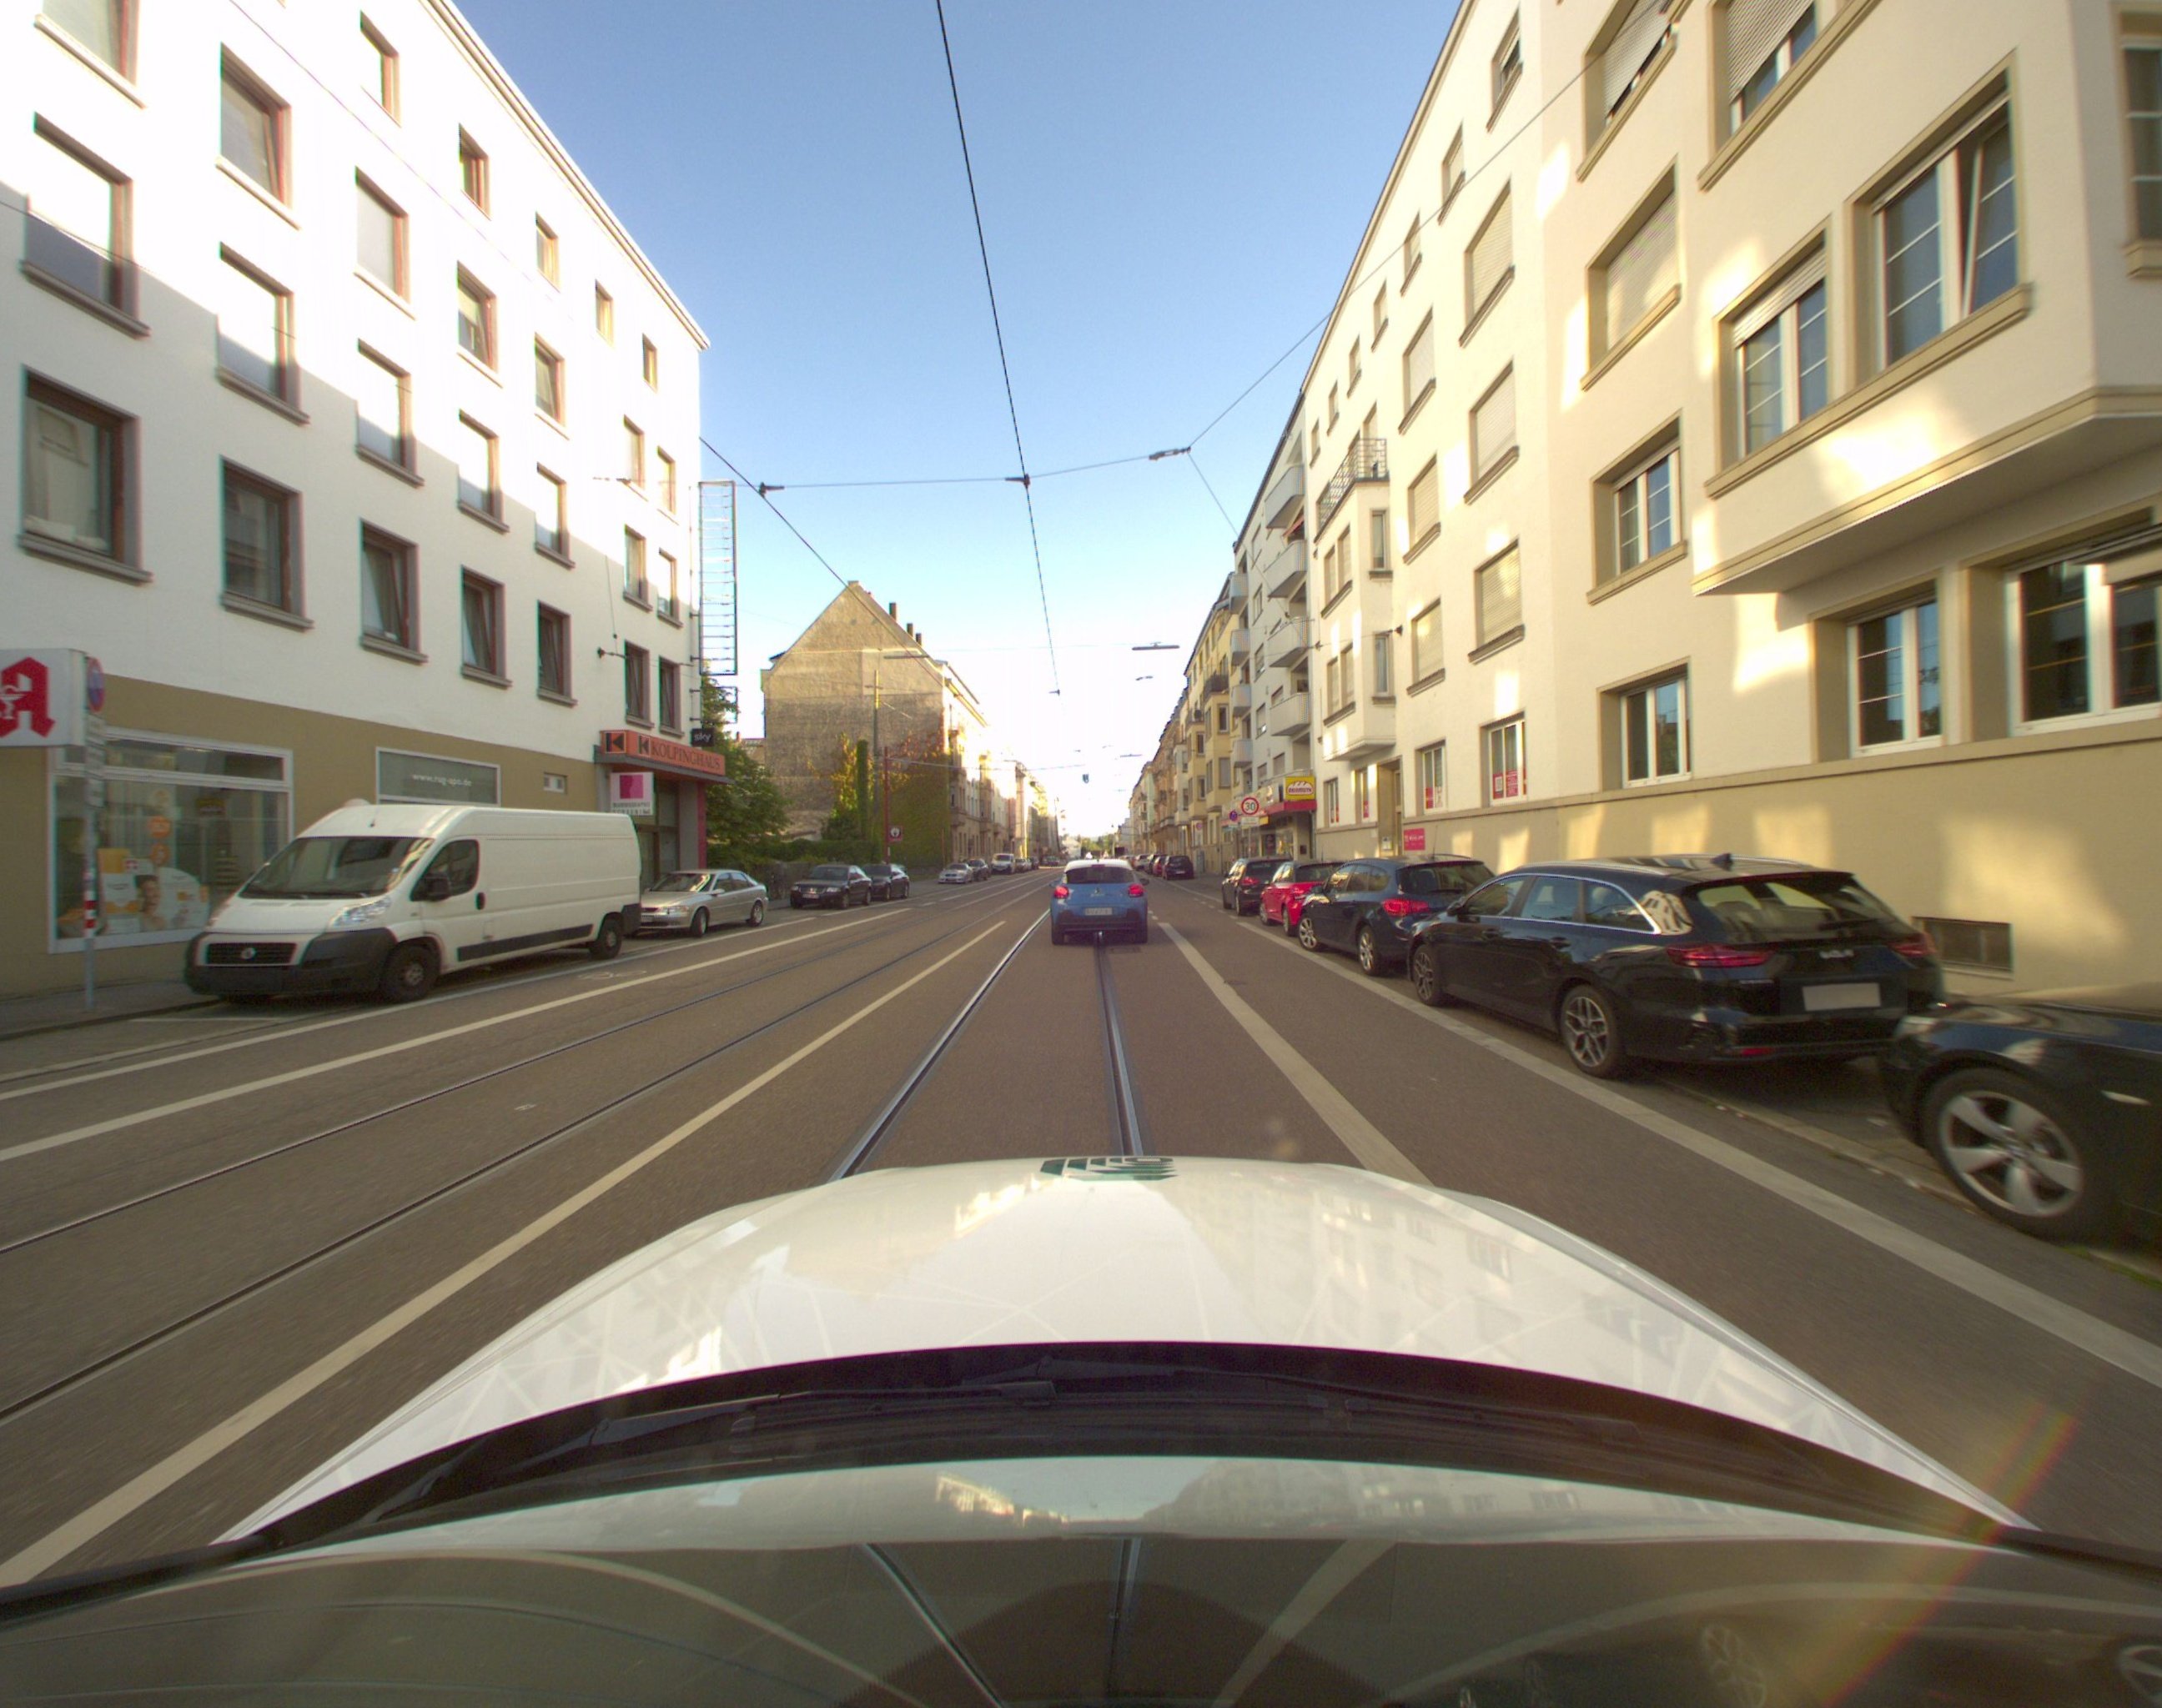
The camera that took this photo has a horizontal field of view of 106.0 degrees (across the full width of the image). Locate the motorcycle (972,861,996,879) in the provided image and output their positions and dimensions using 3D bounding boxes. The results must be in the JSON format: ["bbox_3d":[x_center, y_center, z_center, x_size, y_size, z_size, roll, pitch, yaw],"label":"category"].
[{"bbox_3d":[-7.682,1.247,64.510,0.875,1.351,1.970,-1,-1,34],"label":"motorcycle"}]

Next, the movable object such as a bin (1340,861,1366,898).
[{"bbox_3d":[7.776,0.728,23.304,0.556,1.057,0.554,-1,-1,0],"label":"movable object such as a bin"}]

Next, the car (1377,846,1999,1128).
[{"bbox_3d":[4.336,0.785,6.962,1.852,1.507,4.504,-3,-1,-1],"label":"car"}]

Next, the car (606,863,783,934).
[{"bbox_3d":[-8.745,0.947,18.929,1.776,1.398,4.448,1,0,3],"label":"car"}]

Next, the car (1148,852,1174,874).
[{"bbox_3d":[6.371,0.678,65.180,1.851,1.665,4.565,-1,0,3],"label":"car"}]

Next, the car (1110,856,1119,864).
[{"bbox_3d":[7.483,1.349,182.113,1.814,1.894,4.001,0,0,2],"label":"car"}]

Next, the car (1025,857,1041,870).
[{"bbox_3d":[-6.256,1.258,106.552,1.778,1.606,4.396,1,0,0],"label":"car"}]

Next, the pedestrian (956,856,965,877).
[{"bbox_3d":[-9.884,0.999,66.870,0.677,1.724,0.616,0,-1,1],"label":"pedestrian"}]

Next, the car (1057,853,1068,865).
[{"bbox_3d":[-3.832,1.058,171.913,2.138,2.475,4.978,1,0,0],"label":"car"}]

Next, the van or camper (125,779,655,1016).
[{"bbox_3d":[-8.921,0.474,11.720,2.164,2.467,6.233,1,0,1],"label":"van or camper"}]

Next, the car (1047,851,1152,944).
[{"bbox_3d":[0.378,0.738,15.571,1.728,1.507,3.994,1,0,2],"label":"car"}]

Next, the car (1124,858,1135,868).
[{"bbox_3d":[8.195,1.572,136.994,1.777,1.632,4.002,-1,-1,2],"label":"car"}]

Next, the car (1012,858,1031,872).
[{"bbox_3d":[-6.676,1.200,91.390,1.766,1.547,4.364,1,0,0],"label":"car"}]

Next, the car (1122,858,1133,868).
[{"bbox_3d":[8.085,1.577,142.731,1.777,1.576,4.328,-1,-1,2],"label":"car"}]

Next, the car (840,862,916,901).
[{"bbox_3d":[-8.268,1.075,33.625,1.776,1.446,4.843,1,0,2],"label":"car"}]

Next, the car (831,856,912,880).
[{"bbox_3d":[-13.717,0.900,53.396,4.813,1.518,1.980,0,-1,-32],"label":"car"}]

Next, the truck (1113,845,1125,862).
[{"bbox_3d":[9.772,-0.095,207.887,2.841,4.083,11.278,-1,-1,3],"label":"truck"}]

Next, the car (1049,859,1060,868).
[{"bbox_3d":[-4.845,1.706,148.581,1.778,1.627,4.607,1,0,0],"label":"car"}]

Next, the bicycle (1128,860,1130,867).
[{"bbox_3d":[7.769,1.496,131.767,0.351,1.044,1.730,-1,0,3],"label":"bicycle"}]

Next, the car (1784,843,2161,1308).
[{"bbox_3d":[4.455,0.734,1.754,1.741,1.507,4.922,-3,-1,3],"label":"car"}]

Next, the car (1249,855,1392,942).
[{"bbox_3d":[4.736,0.818,16.695,1.850,1.473,3.991,-3,-1,3],"label":"car"}]

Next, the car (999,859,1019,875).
[{"bbox_3d":[-7.169,1.271,81.521,1.597,1.473,3.647,1,0,2],"label":"car"}]

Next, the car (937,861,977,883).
[{"bbox_3d":[-7.955,1.146,52.499,1.776,1.314,4.222,1,0,2],"label":"car"}]

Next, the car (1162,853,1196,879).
[{"bbox_3d":[6.030,0.730,50.352,1.712,1.491,4.003,-2,-1,2],"label":"car"}]

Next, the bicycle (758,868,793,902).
[{"bbox_3d":[-11.257,1.121,30.110,0.438,1.175,2.051,0,-1,3],"label":"bicycle"}]

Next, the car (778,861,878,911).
[{"bbox_3d":[-8.376,1.016,27.411,1.777,1.481,4.700,1,0,1],"label":"car"}]

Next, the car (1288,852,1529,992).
[{"bbox_3d":[4.313,0.803,11.492,1.850,1.507,4.098,-3,-1,3],"label":"car"}]

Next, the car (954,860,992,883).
[{"bbox_3d":[-7.602,1.204,57.849,1.775,1.565,4.614,1,0,4],"label":"car"}]

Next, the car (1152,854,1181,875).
[{"bbox_3d":[6.120,0.743,58.867,1.851,1.455,4.713,-1,0,3],"label":"car"}]

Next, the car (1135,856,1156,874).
[{"bbox_3d":[6.460,1.068,81.801,1.836,1.691,4.506,-1,0,2],"label":"car"}]

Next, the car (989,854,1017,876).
[{"bbox_3d":[-7.214,0.984,76.008,1.966,1.949,5.252,1,0,1],"label":"car"}]

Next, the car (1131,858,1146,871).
[{"bbox_3d":[7.268,1.293,103.226,1.746,1.594,3.732,-1,0,3],"label":"car"}]

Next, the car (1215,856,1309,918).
[{"bbox_3d":[4.772,0.809,22.013,1.703,1.407,4.361,-3,-1,3],"label":"car"}]

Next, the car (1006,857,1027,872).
[{"bbox_3d":[-6.799,1.099,85.918,1.777,1.523,4.360,1,0,1],"label":"car"}]
